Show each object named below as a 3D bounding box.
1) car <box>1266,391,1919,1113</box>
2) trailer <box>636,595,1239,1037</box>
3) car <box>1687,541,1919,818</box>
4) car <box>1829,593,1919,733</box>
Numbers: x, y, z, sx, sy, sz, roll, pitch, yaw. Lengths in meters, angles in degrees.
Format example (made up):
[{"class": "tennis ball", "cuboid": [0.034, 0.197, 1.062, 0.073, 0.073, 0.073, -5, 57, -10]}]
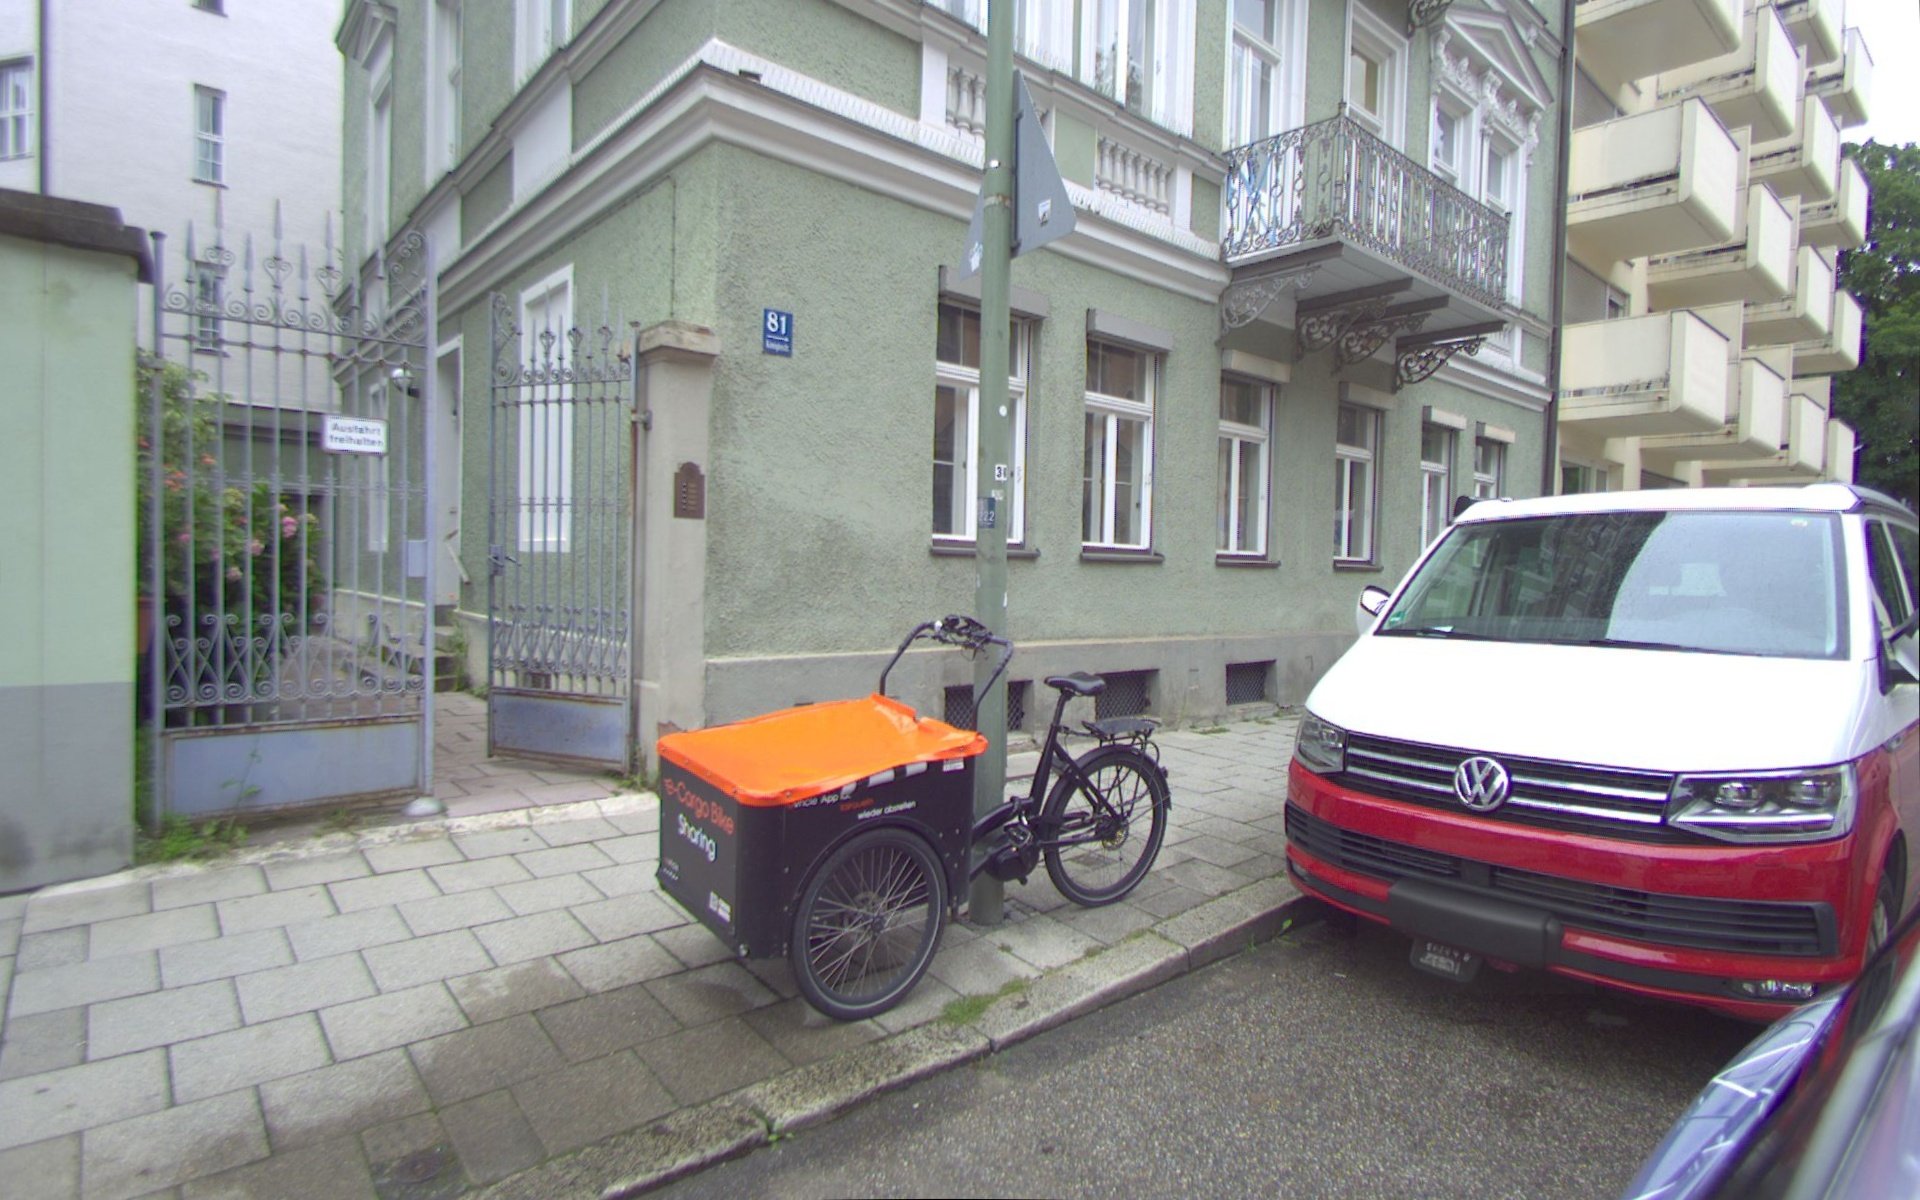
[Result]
[{"class": "car", "cuboid": [3.552, 0.400, 4.880, 4.511, 1.920, 1.857, 0, 0, -41]}, {"class": "trailer", "cuboid": [-0.023, 0.624, 3.911, 2.124, 1.198, 0.946, 0, 5, -37]}, {"class": "car", "cuboid": [7.623, 0.521, 8.262, 4.474, 1.780, 1.830, 1, 0, -42]}, {"class": "car", "cuboid": [11.857, 0.687, 12.239, 3.909, 1.515, 1.549, 0, 0, -42]}]
